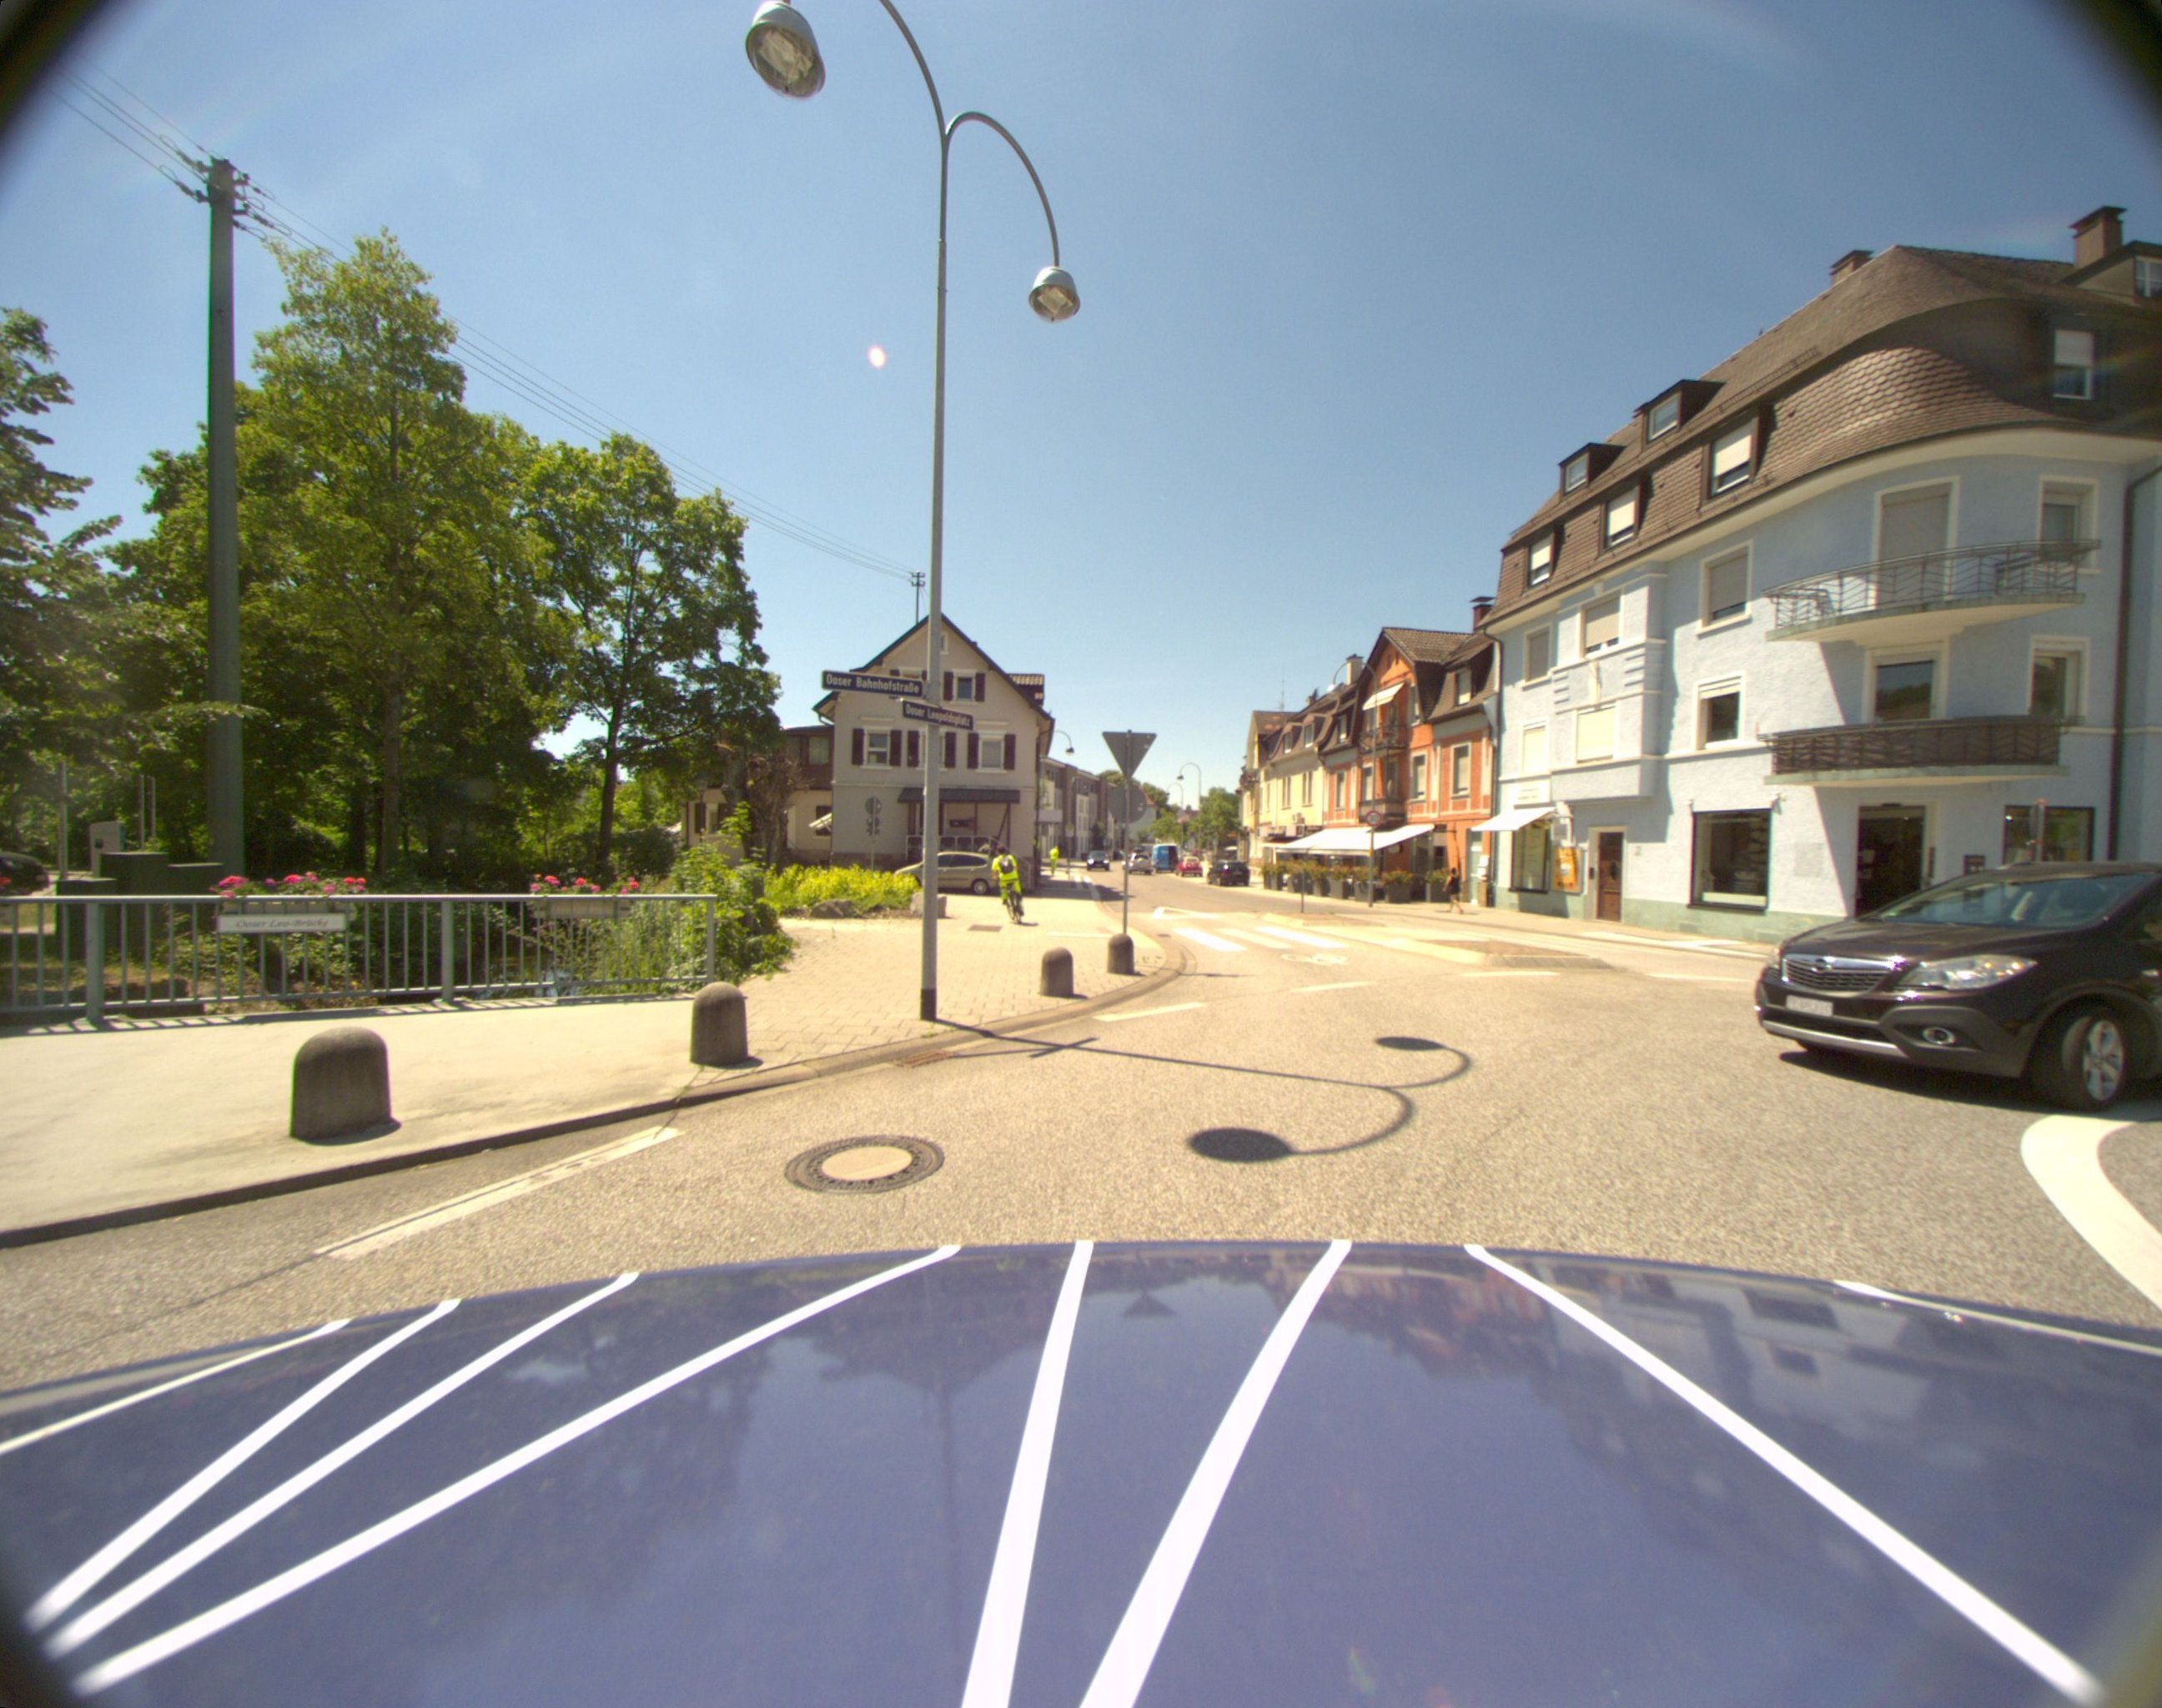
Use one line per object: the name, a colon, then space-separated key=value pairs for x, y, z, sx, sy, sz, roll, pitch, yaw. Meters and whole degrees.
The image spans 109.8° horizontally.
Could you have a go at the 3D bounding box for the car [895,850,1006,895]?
car: x=-5.004 y=0.709 z=29.618 sx=3.998 sy=1.587 sz=1.794 roll=2 pitch=0 yaw=-2

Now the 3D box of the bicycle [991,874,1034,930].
bicycle: x=-1.633 y=1.087 z=17.733 sx=0.811 sy=1.149 sz=1.850 roll=3 pitch=0 yaw=-9

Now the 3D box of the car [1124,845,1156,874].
car: x=4.682 y=0.401 z=60.915 sx=1.930 sy=2.095 sz=4.448 roll=3 pitch=1 yaw=-2

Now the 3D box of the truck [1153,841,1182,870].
truck: x=7.415 y=0.092 z=65.522 sx=1.960 sy=2.356 sz=4.336 roll=-1 pitch=1 yaw=0

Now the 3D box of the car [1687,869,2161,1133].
car: x=7.389 y=0.956 z=5.618 sx=4.163 sy=1.553 sz=2.000 roll=2 pitch=0 yaw=1

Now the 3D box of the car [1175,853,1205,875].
car: x=8.229 y=0.708 z=57.510 sx=1.682 sy=1.537 sz=3.593 roll=-1 pitch=1 yaw=0

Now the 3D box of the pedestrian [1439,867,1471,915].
pedestrian: x=12.307 y=1.196 z=25.022 sx=0.628 sy=1.516 sz=0.803 roll=-1 pitch=1 yaw=-7

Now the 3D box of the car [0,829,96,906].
car: x=-24.229 y=0.254 z=15.945 sx=4.008 sy=1.592 sz=1.837 roll=1 pitch=1 yaw=-37

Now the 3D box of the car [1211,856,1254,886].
car: x=8.692 y=0.947 z=43.953 sx=1.682 sy=1.537 sz=3.945 roll=-1 pitch=1 yaw=0

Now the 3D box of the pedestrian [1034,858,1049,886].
pedestrian: x=-1.906 y=0.861 z=36.675 sx=0.685 sy=1.278 sz=0.580 roll=1 pitch=1 yaw=-7

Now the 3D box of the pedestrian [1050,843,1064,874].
pedestrian: x=-1.625 y=0.275 z=50.904 sx=0.921 sy=2.018 sz=0.900 roll=1 pitch=2 yaw=-3

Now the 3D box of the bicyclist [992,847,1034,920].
bicyclist: x=-1.597 y=0.667 z=17.654 sx=0.811 sy=1.625 sz=1.061 roll=3 pitch=0 yaw=-9

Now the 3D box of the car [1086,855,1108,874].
car: x=1.434 y=0.928 z=66.530 sx=1.753 sy=1.537 sz=3.594 roll=0 pitch=1 yaw=4

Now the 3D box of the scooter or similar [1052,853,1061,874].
scooter or similar: x=-1.641 y=0.608 z=50.886 sx=0.527 sy=1.365 sz=1.346 roll=1 pitch=1 yaw=-2
